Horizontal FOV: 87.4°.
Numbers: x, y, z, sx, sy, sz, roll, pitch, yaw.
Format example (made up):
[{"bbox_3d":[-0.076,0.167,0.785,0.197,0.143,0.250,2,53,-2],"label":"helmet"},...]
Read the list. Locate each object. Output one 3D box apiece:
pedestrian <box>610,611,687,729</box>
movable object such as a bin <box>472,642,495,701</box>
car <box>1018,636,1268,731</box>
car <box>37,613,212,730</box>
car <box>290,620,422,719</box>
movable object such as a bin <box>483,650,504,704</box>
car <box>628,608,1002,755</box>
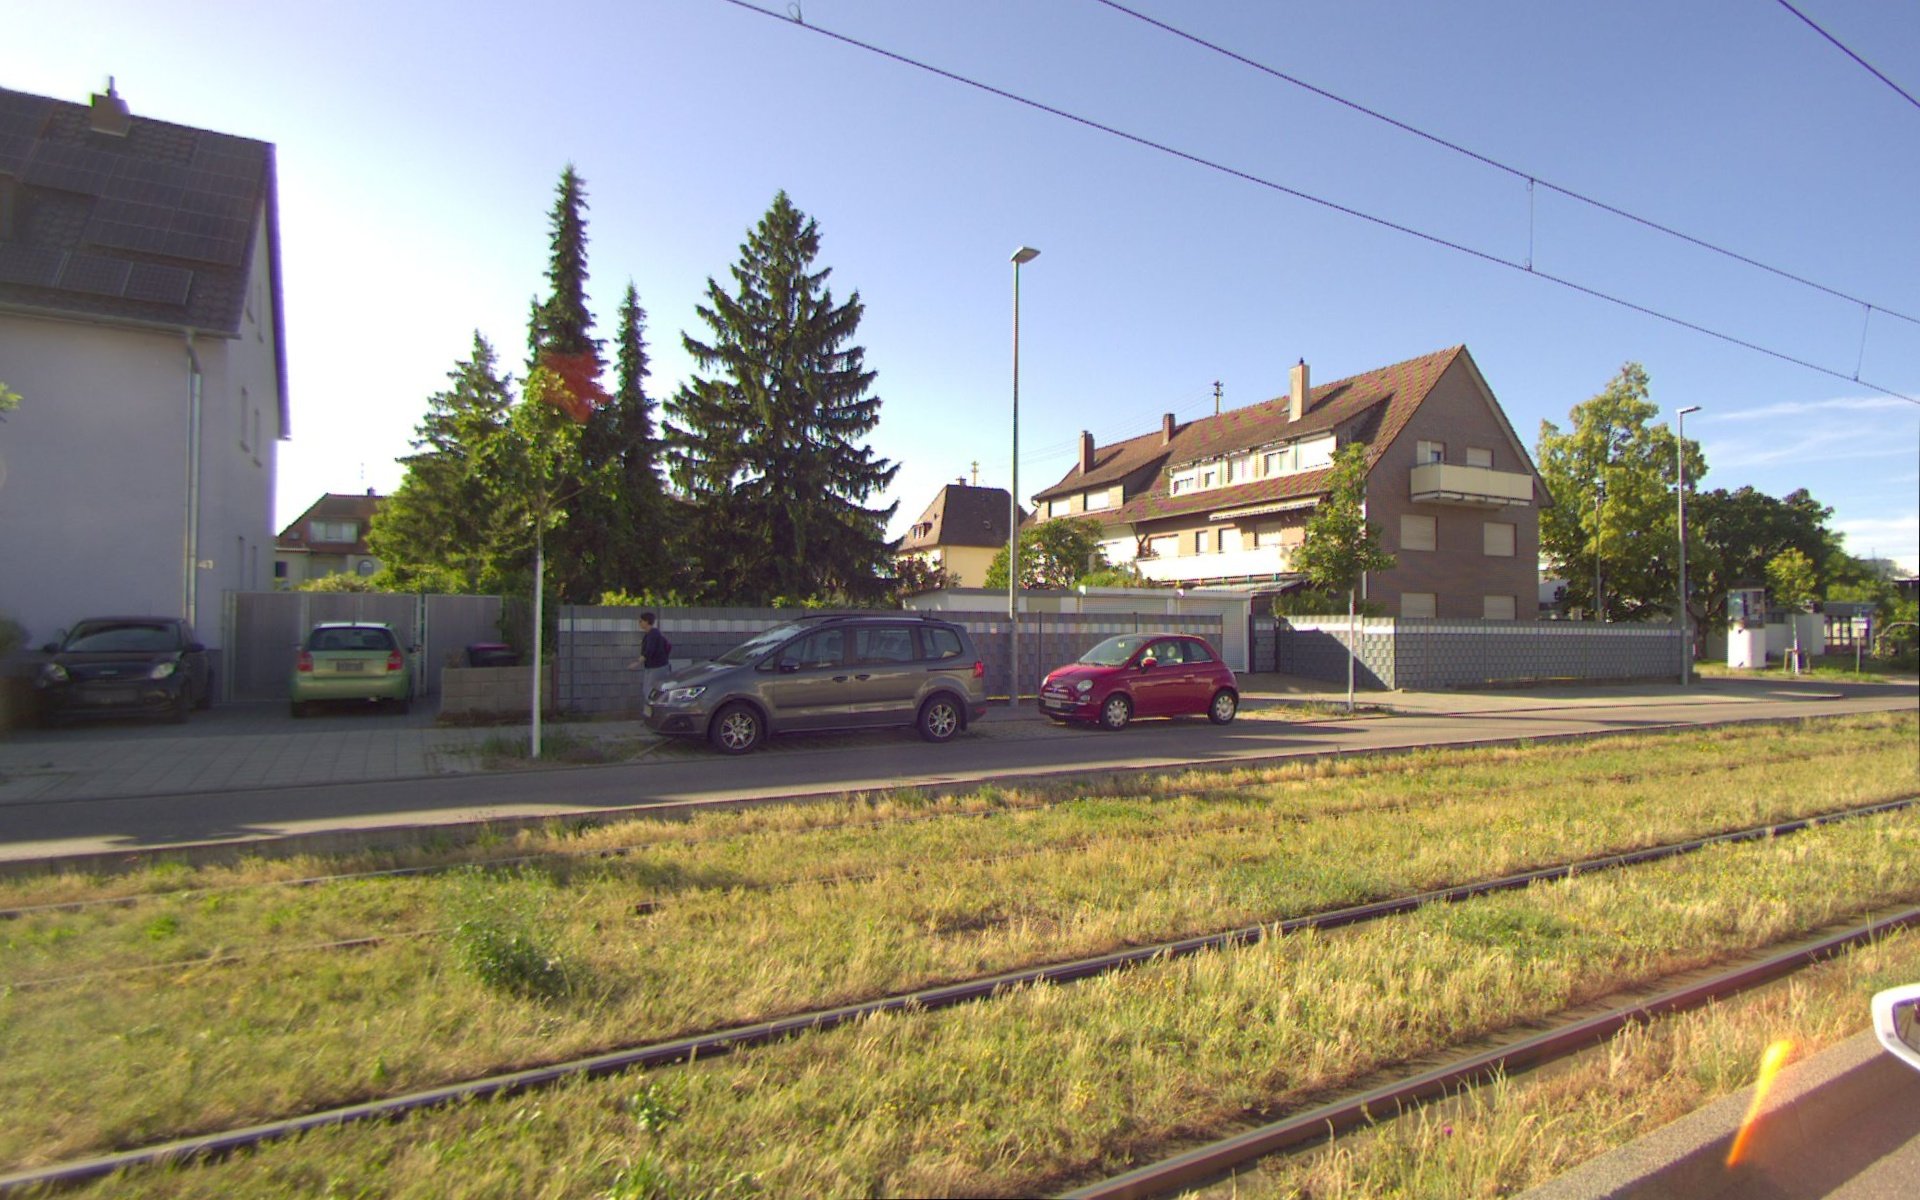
[{"bbox_3d":[-4.579,1.008,14.764,0.910,1.662,0.692,2,0,-32],"label":"pedestrian"},{"bbox_3d":[-9.080,1.354,19.149,0.333,1.077,0.586,2,-2,-30],"label":"movable object such as a bin"},{"bbox_3d":[3.112,1.328,16.919,4.030,1.423,1.688,1,-2,-30],"label":"car"},{"bbox_3d":[-12.566,0.995,15.318,1.675,1.480,3.608,2,-1,-34],"label":"car"},{"bbox_3d":[-10.138,1.099,17.081,1.684,1.493,3.598,2,-2,-28],"label":"car"},{"bbox_3d":[-8.631,1.416,18.566,0.293,0.982,0.589,1,-2,-29],"label":"movable object such as a bin"},{"bbox_3d":[-1.935,1.031,13.902,4.788,1.707,1.811,2,0,-30],"label":"car"}]
